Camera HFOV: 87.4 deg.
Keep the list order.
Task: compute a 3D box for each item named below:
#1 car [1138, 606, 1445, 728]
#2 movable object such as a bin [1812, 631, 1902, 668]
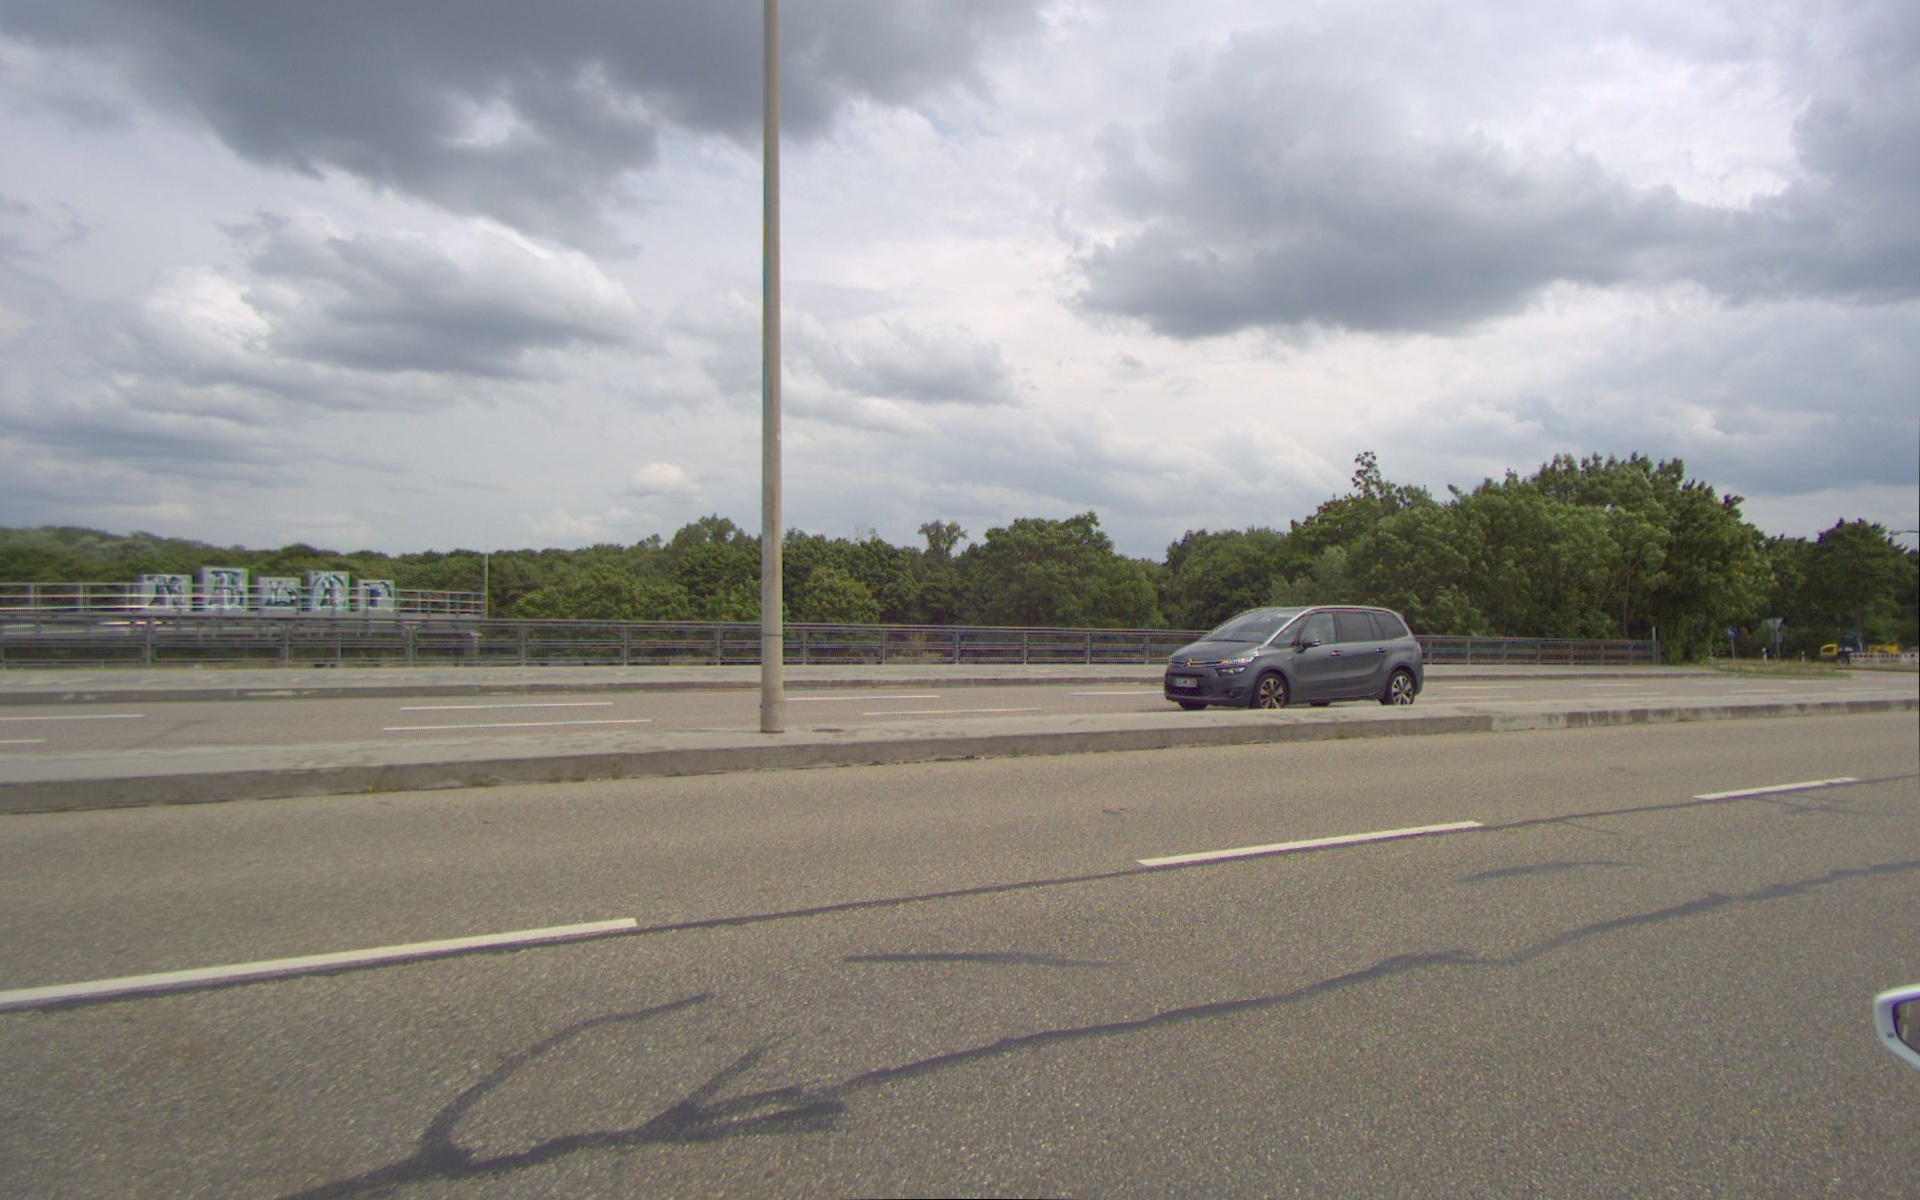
[{"bbox_3d":[5.210,0.937,15.676,4.605,1.662,1.985,1,0,-29],"label":"car"},{"bbox_3d":[63.831,3.469,71.524,1.983,2.429,4.542,0,0,-38],"label":"movable object such as a bin"}]
